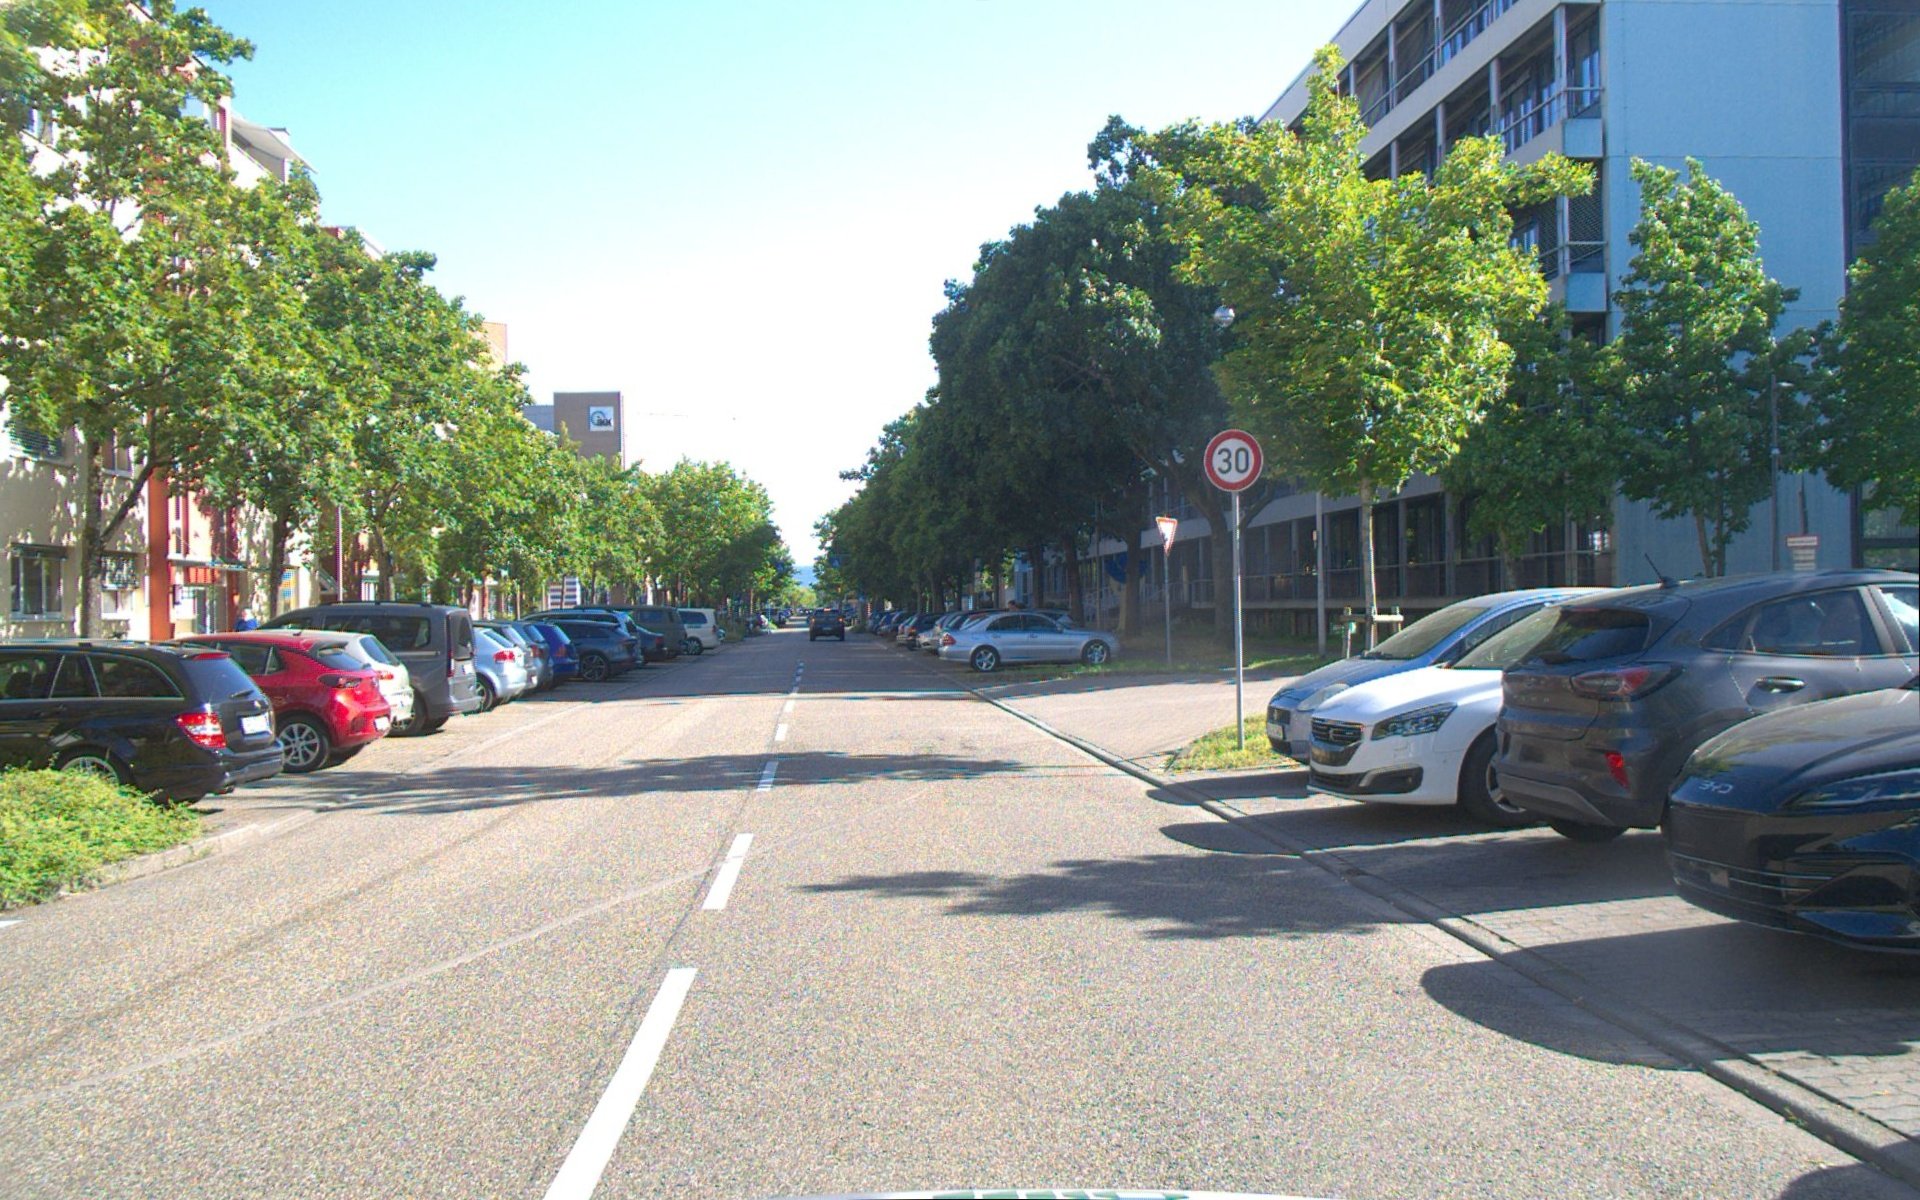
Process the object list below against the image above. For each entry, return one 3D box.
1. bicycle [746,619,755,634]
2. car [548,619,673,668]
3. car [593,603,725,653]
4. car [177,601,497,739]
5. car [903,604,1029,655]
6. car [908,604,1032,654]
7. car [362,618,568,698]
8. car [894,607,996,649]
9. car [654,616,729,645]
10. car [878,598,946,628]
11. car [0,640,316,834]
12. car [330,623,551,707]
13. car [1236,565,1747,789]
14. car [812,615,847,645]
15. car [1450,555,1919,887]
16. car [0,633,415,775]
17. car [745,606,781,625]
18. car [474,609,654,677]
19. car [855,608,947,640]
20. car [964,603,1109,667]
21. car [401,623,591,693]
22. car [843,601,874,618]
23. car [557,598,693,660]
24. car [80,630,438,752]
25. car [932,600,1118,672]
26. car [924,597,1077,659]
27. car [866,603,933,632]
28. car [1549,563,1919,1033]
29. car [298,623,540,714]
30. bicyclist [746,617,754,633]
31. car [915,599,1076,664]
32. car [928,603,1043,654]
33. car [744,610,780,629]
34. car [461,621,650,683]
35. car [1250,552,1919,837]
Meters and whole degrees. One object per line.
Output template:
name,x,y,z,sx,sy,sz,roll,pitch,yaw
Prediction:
bicycle,-15.783,1.987,124.439,0.521,1.091,1.299,-2,0,-2
car,-10.666,1.325,50.643,3.659,1.452,1.720,0,0,-11
car,-12.335,1.129,67.972,5.155,2.001,1.941,0,0,-5
car,-8.606,0.938,23.127,3.816,1.843,1.784,0,0,-5
car,0.194,1.076,61.650,4.503,1.519,1.761,-4,0,-5
car,0.341,1.037,59.309,4.203,1.519,2.001,-3,0,-6
car,-9.884,1.143,33.256,3.654,1.535,1.857,0,0,-6
car,-0.617,1.134,66.995,3.895,1.444,1.708,-3,0,-7
car,-14.621,1.633,90.262,3.910,1.512,1.804,-1,0,-6
car,-2.829,0.746,97.381,3.872,1.541,1.811,-3,0,-4
car,-7.705,1.074,13.523,4.176,1.448,1.739,0,0,-2
car,-9.563,1.183,30.709,3.657,1.472,1.856,0,0,-9
car,4.612,0.636,14.571,3.878,1.541,1.697,-4,-1,-11
car,-7.459,1.707,94.624,1.955,1.669,3.995,0,-1,-5
car,5.006,0.556,9.416,3.800,1.541,1.749,-4,-1,-5
car,-8.210,1.109,18.315,3.816,1.448,1.737,0,0,-5
car,-23.179,1.795,194.944,3.906,2.049,1.999,-2,0,-1
car,-10.320,1.103,43.331,4.232,1.747,1.962,0,0,0
car,-3.178,1.287,88.848,4.734,1.444,2.029,-3,0,-7
car,2.042,0.931,44.949,3.760,1.472,1.921,-3,0,-1
car,-9.916,1.225,35.604,3.654,1.452,1.838,0,0,-6
car,-13.215,1.181,215.276,3.911,2.049,1.997,-2,0,-7
car,-11.709,1.005,57.981,4.398,2.126,2.081,0,0,-3
car,-8.806,1.118,21.041,3.816,1.448,1.737,0,0,-5
car,1.612,0.900,41.987,4.489,1.501,1.745,-4,0,-5
car,1.201,0.819,49.737,4.423,1.569,1.921,-3,0,-1
car,-4.073,1.180,111.541,4.270,1.733,1.809,-3,0,-8
car,5.111,0.545,6.866,4.461,1.541,2.156,-4,-1,-5
car,-9.196,1.146,28.375,3.657,1.472,1.872,0,0,-9
bicyclist,-15.784,1.874,124.414,0.521,1.110,0.794,-2,0,-2
car,0.980,0.879,47.301,4.424,1.569,1.921,-3,0,-1
car,0.860,0.969,56.903,3.675,1.519,1.613,-3,0,-9
car,-22.976,2.291,191.935,3.906,2.049,1.999,-2,0,-1
car,-9.897,1.259,40.757,4.319,1.452,1.770,0,0,-7
car,4.607,0.604,11.952,4.469,1.541,1.977,-4,-1,-11
